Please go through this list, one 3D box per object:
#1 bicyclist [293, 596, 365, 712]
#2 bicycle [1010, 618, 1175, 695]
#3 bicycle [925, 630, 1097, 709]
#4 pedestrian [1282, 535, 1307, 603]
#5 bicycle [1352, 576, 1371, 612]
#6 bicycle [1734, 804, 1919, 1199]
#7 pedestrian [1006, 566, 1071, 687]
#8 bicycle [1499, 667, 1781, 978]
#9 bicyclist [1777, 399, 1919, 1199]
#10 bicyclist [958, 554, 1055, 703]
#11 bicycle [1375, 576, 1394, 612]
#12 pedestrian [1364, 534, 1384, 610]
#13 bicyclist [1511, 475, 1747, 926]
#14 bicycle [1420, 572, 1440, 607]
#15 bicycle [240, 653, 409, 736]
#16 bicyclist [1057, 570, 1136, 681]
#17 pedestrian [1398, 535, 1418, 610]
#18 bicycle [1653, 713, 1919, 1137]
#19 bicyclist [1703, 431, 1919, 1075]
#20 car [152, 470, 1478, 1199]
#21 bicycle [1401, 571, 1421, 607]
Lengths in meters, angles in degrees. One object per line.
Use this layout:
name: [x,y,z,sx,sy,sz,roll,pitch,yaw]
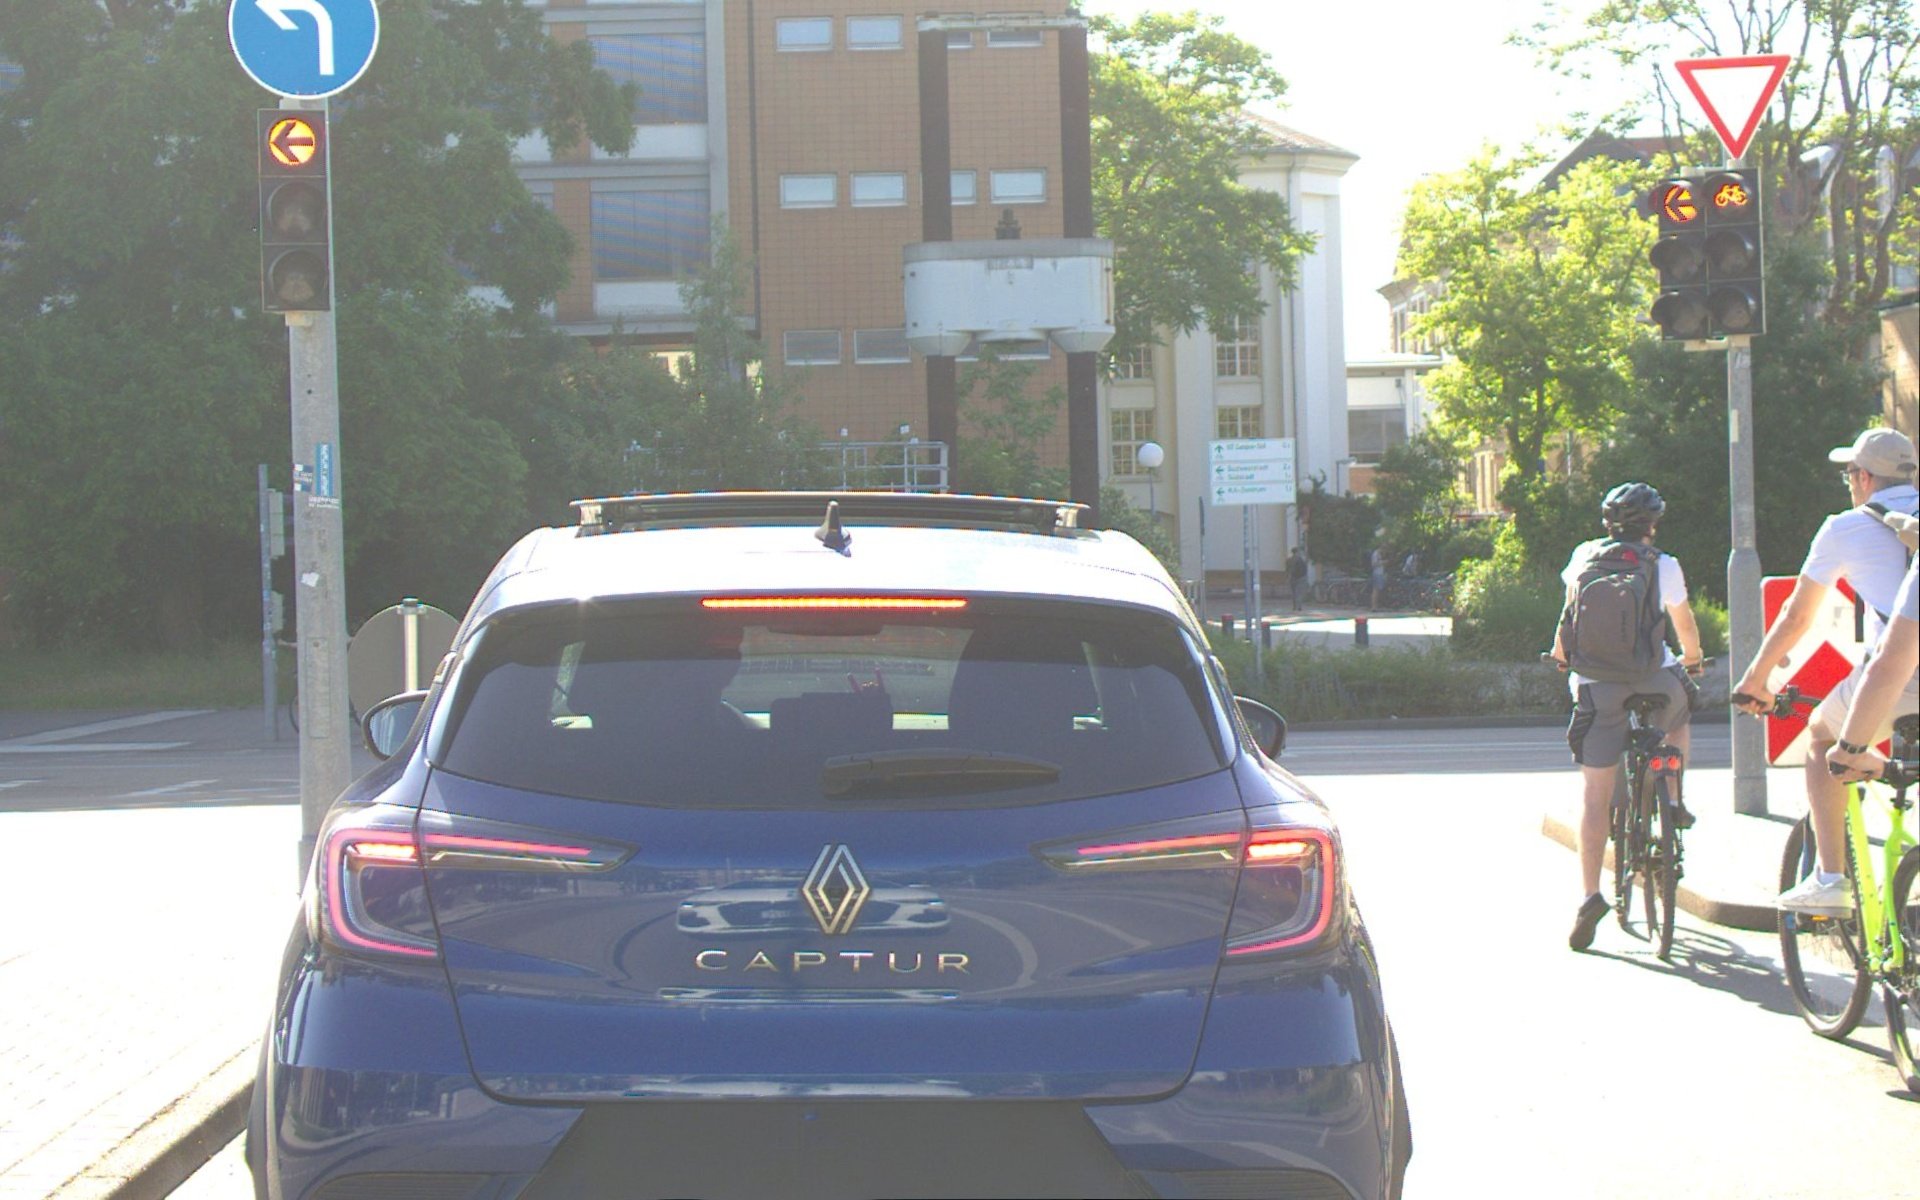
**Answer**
bicyclist: [-8.039,0.679,43.785,0.737,1.436,0.598,-2,1,-27]
bicycle: [1.732,0.741,44.961,2.077,0.961,0.598,-1,1,10]
bicycle: [0.650,0.887,43.970,2.082,0.927,0.696,-2,2,11]
pedestrian: [9.166,-0.853,94.160,0.623,1.849,0.563,-1,1,3]
bicycle: [10.985,-0.174,94.078,0.405,0.969,1.683,1,1,4]
bicycle: [2.222,0.951,7.255,0.740,0.893,1.978,1,1,1]
pedestrian: [1.060,0.355,46.257,0.737,1.598,0.598,-1,1,12]
bicycle: [2.505,0.785,12.899,0.739,0.992,2.173,1,1,3]
bicyclist: [2.226,0.437,7.243,0.751,1.663,1.016,1,0,1]
bicyclist: [0.600,0.362,43.980,1.102,1.861,0.653,-1,1,10]
bicycle: [11.608,-0.165,94.035,0.405,0.969,1.683,1,1,4]
pedestrian: [10.975,-0.747,91.041,0.475,2.007,0.523,-1,1,6]
bicyclist: [2.502,0.358,12.944,0.726,1.623,0.969,1,0,4]
bicycle: [12.911,-0.294,94.414,0.405,0.969,1.683,1,1,4]
bicycle: [-8.087,1.193,43.768,2.005,0.961,0.598,-2,1,-27]
bicyclist: [1.784,0.330,44.953,0.937,1.424,0.598,-1,1,9]
pedestrian: [12.032,-0.746,92.393,0.475,2.007,0.468,-1,1,6]
bicycle: [2.606,0.869,9.819,0.659,0.999,1.970,1,1,-6]
bicyclist: [2.617,0.410,9.808,0.645,1.733,1.067,1,0,-6]
car: [-0.274,0.617,6.694,1.803,1.626,4.000,0,1,-2]
bicycle: [12.376,-0.301,94.401,0.405,0.969,1.683,1,1,4]
